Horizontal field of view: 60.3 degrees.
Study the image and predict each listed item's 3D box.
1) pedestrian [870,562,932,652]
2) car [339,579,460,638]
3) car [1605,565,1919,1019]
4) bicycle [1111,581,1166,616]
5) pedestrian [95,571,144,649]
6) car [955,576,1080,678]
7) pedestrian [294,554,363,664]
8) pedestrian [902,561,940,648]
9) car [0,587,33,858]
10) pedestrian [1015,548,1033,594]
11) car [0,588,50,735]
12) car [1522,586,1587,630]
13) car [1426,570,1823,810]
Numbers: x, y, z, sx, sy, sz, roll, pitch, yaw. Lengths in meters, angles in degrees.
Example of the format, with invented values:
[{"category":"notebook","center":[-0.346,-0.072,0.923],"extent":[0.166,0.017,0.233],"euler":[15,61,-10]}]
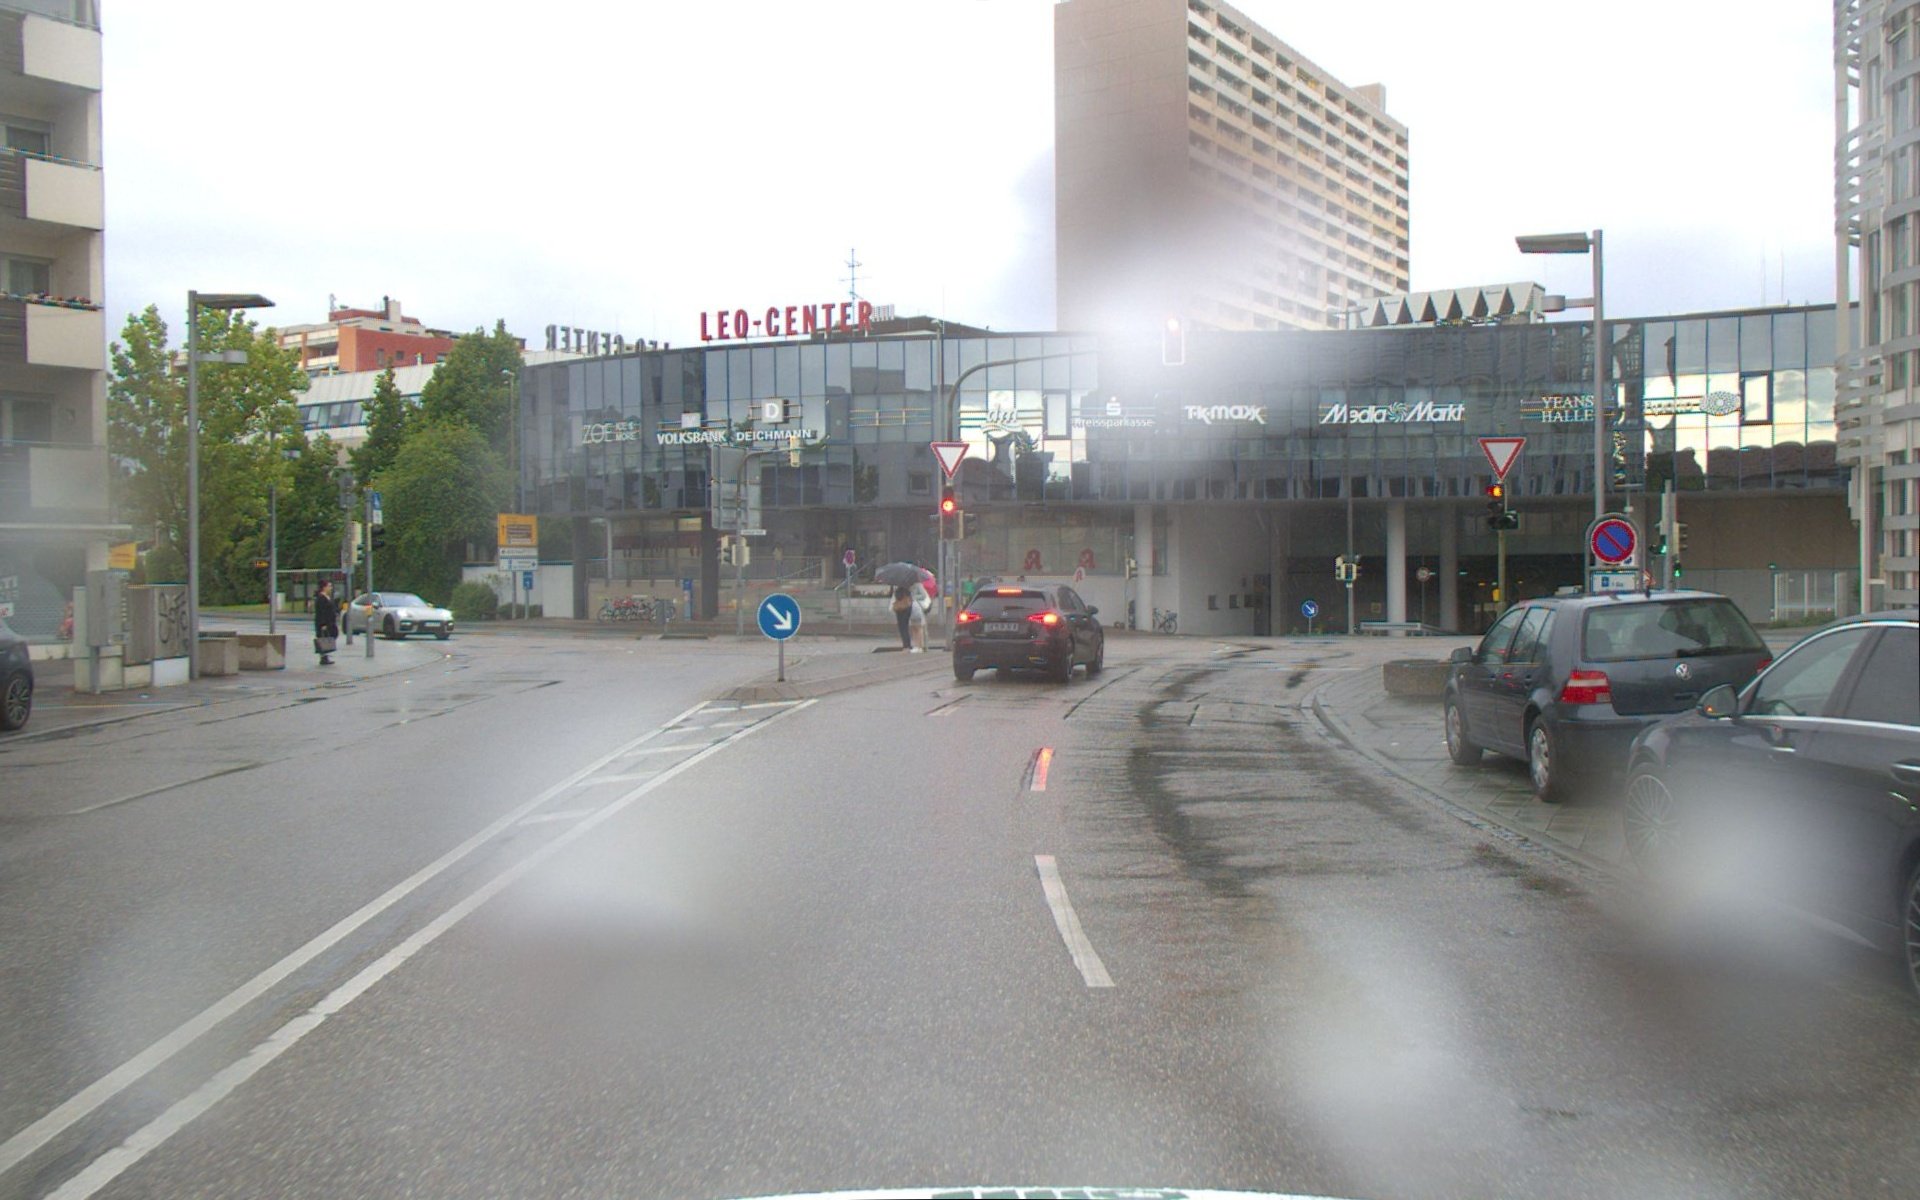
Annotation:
[{"category":"pedestrian","center":[-1.158,0.142,32.409],"extent":[0.900,1.688,0.747],"euler":[2,1,-33]},{"category":"car","center":[-17.676,0.259,52.054],"extent":[1.983,1.538,4.366],"euler":[2,2,-42]},{"category":"car","center":[4.363,0.677,6.743],"extent":[1.951,1.560,4.649],"euler":[0,-1,4]},{"category":"bicycle","center":[8.018,-0.071,74.344],"extent":[2.378,1.489,0.655],"euler":[-1,2,-8]},{"category":"pedestrian","center":[-23.173,0.279,45.596],"extent":[1.016,2.048,0.952],"euler":[2,1,-36]},{"category":"car","center":[0.968,0.365,25.839],"extent":[1.766,1.444,4.003],"euler":[-1,1,4]},{"category":"pedestrian","center":[-12.188,0.172,31.940],"extent":[0.732,2.048,0.922],"euler":[3,0,15]},{"category":"pedestrian","center":[-0.788,0.082,33.345],"extent":[0.598,1.688,0.671],"euler":[3,1,-10]},{"category":"car","center":[-6.118,0.751,7.342],"extent":[1.788,1.464,3.841],"euler":[-2,2,0]},{"category":"pedestrian","center":[2.880,-1.319,74.307],"extent":[0.771,2.049,0.671],"euler":[-1,0,5]},{"category":"car","center":[-11.144,0.680,16.640],"extent":[1.897,1.568,4.268],"euler":[0,1,-5]},{"category":"car","center":[24.922,0.316,69.259],"extent":[1.956,1.747,3.993],"euler":[-1,1,29]},{"category":"car","center":[5.024,0.575,13.108],"extent":[1.663,1.511,4.002],"euler":[-4,1,3]}]
